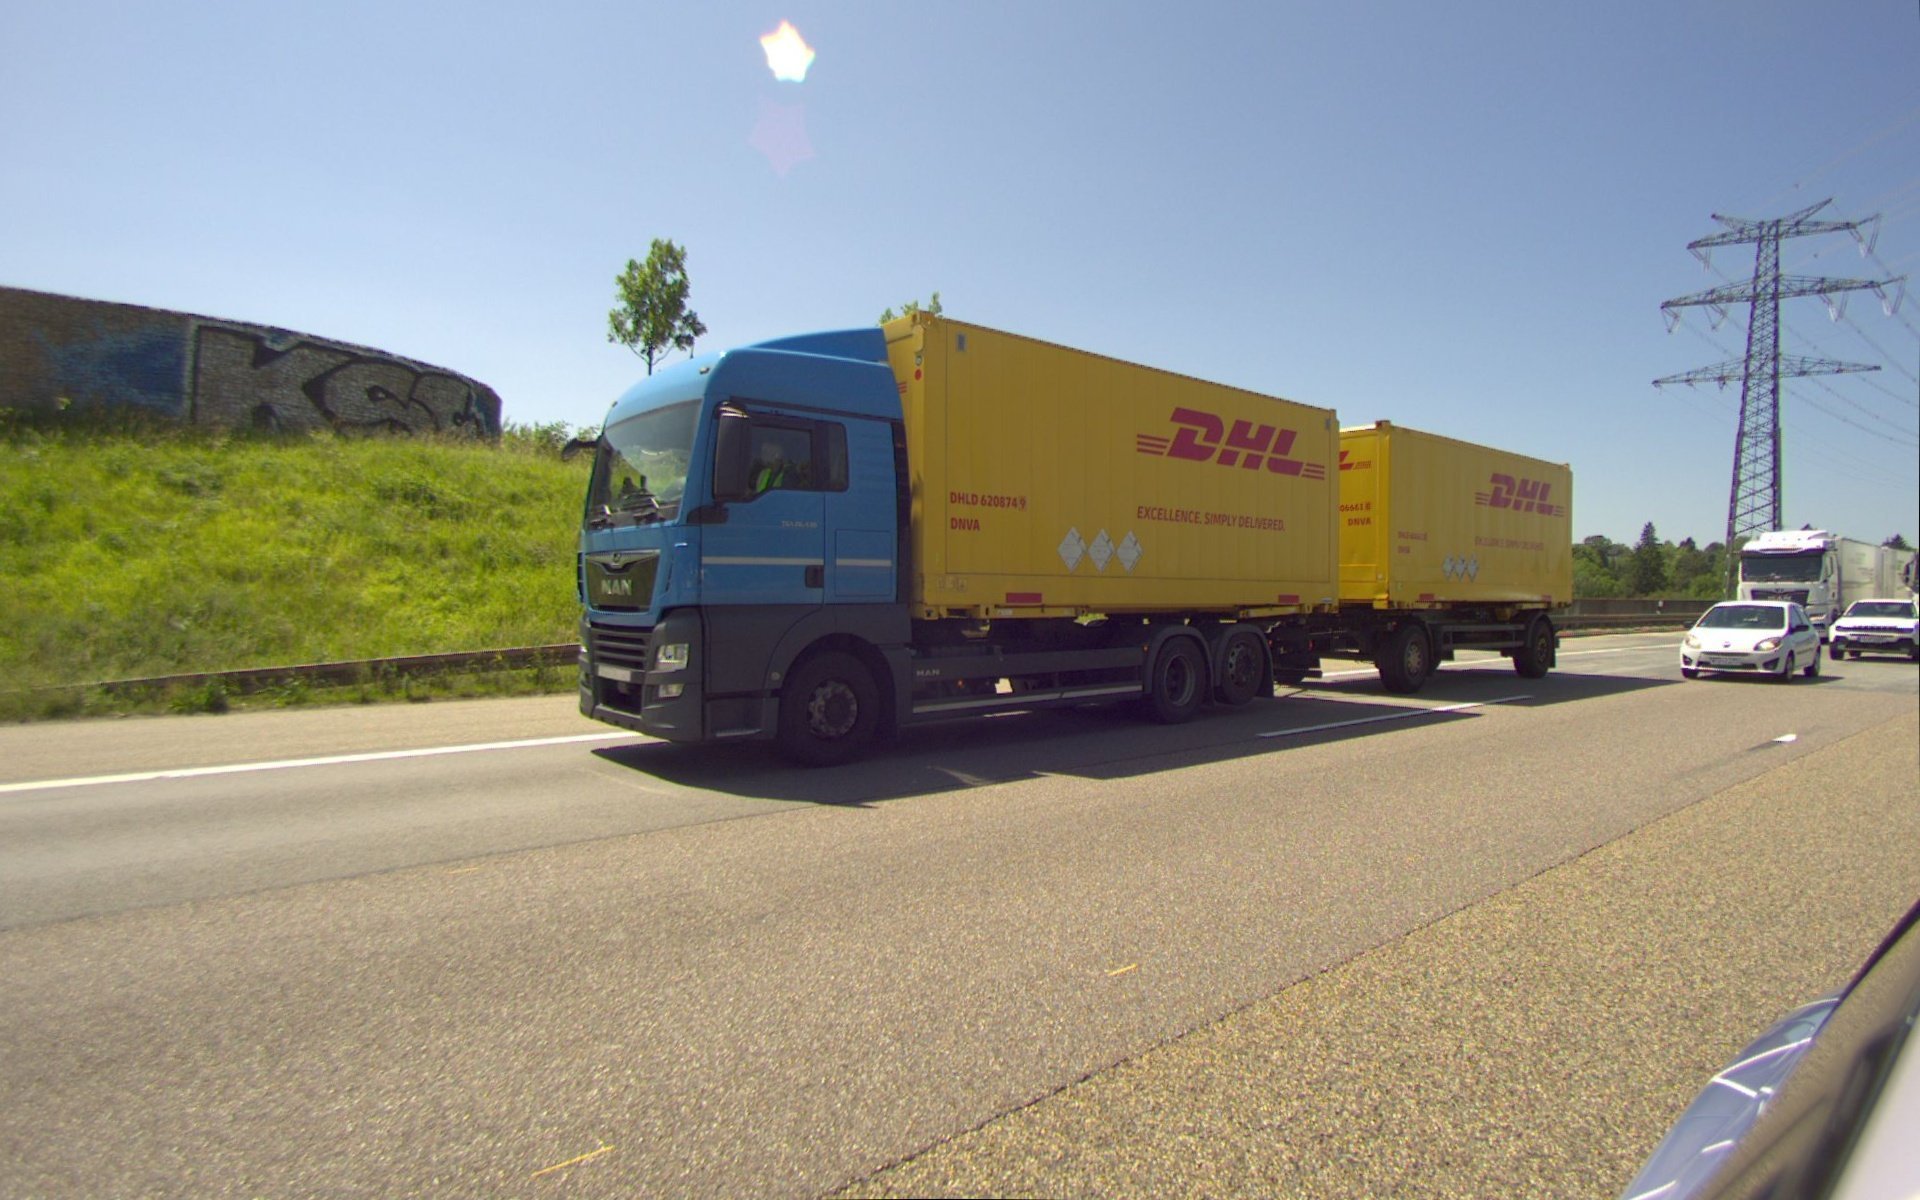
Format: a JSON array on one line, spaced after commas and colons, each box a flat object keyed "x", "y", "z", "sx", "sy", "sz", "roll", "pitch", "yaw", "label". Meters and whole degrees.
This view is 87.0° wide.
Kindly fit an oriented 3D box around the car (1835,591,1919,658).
[{"x": 23.490, "y": 0.563, "z": 25.316, "sx": 3.782, "sy": 1.549, "sz": 1.775, "roll": -1, "pitch": 0, "yaw": -39, "label": "car"}]

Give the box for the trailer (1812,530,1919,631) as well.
[{"x": 39.234, "y": -0.798, "z": 43.462, "sx": 7.635, "sy": 3.991, "sz": 2.751, "roll": 0, "pitch": 0, "yaw": -40, "label": "trailer"}]

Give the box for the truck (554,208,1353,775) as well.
[{"x": 0.782, "y": -0.774, "z": 11.684, "sx": 9.777, "sy": 4.162, "sz": 2.770, "roll": 1, "pitch": -1, "yaw": -41, "label": "truck"}]

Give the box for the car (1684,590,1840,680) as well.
[{"x": 15.384, "y": 0.595, "z": 19.354, "sx": 3.758, "sy": 1.529, "sz": 1.658, "roll": -1, "pitch": 0, "yaw": -40, "label": "car"}]

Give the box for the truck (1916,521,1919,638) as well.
[{"x": 39.549, "y": -0.711, "z": 38.526, "sx": 13.997, "sy": 4.090, "sz": 2.717, "roll": 0, "pitch": 0, "yaw": -39, "label": "truck"}]

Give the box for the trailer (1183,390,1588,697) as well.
[{"x": 7.874, "y": -0.747, "z": 17.800, "sx": 9.211, "sy": 4.170, "sz": 2.770, "roll": 1, "pitch": -1, "yaw": -41, "label": "trailer"}]

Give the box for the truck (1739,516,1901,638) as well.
[{"x": 32.040, "y": -0.776, "z": 37.473, "sx": 11.095, "sy": 3.980, "sz": 2.694, "roll": 0, "pitch": 0, "yaw": -40, "label": "truck"}]
